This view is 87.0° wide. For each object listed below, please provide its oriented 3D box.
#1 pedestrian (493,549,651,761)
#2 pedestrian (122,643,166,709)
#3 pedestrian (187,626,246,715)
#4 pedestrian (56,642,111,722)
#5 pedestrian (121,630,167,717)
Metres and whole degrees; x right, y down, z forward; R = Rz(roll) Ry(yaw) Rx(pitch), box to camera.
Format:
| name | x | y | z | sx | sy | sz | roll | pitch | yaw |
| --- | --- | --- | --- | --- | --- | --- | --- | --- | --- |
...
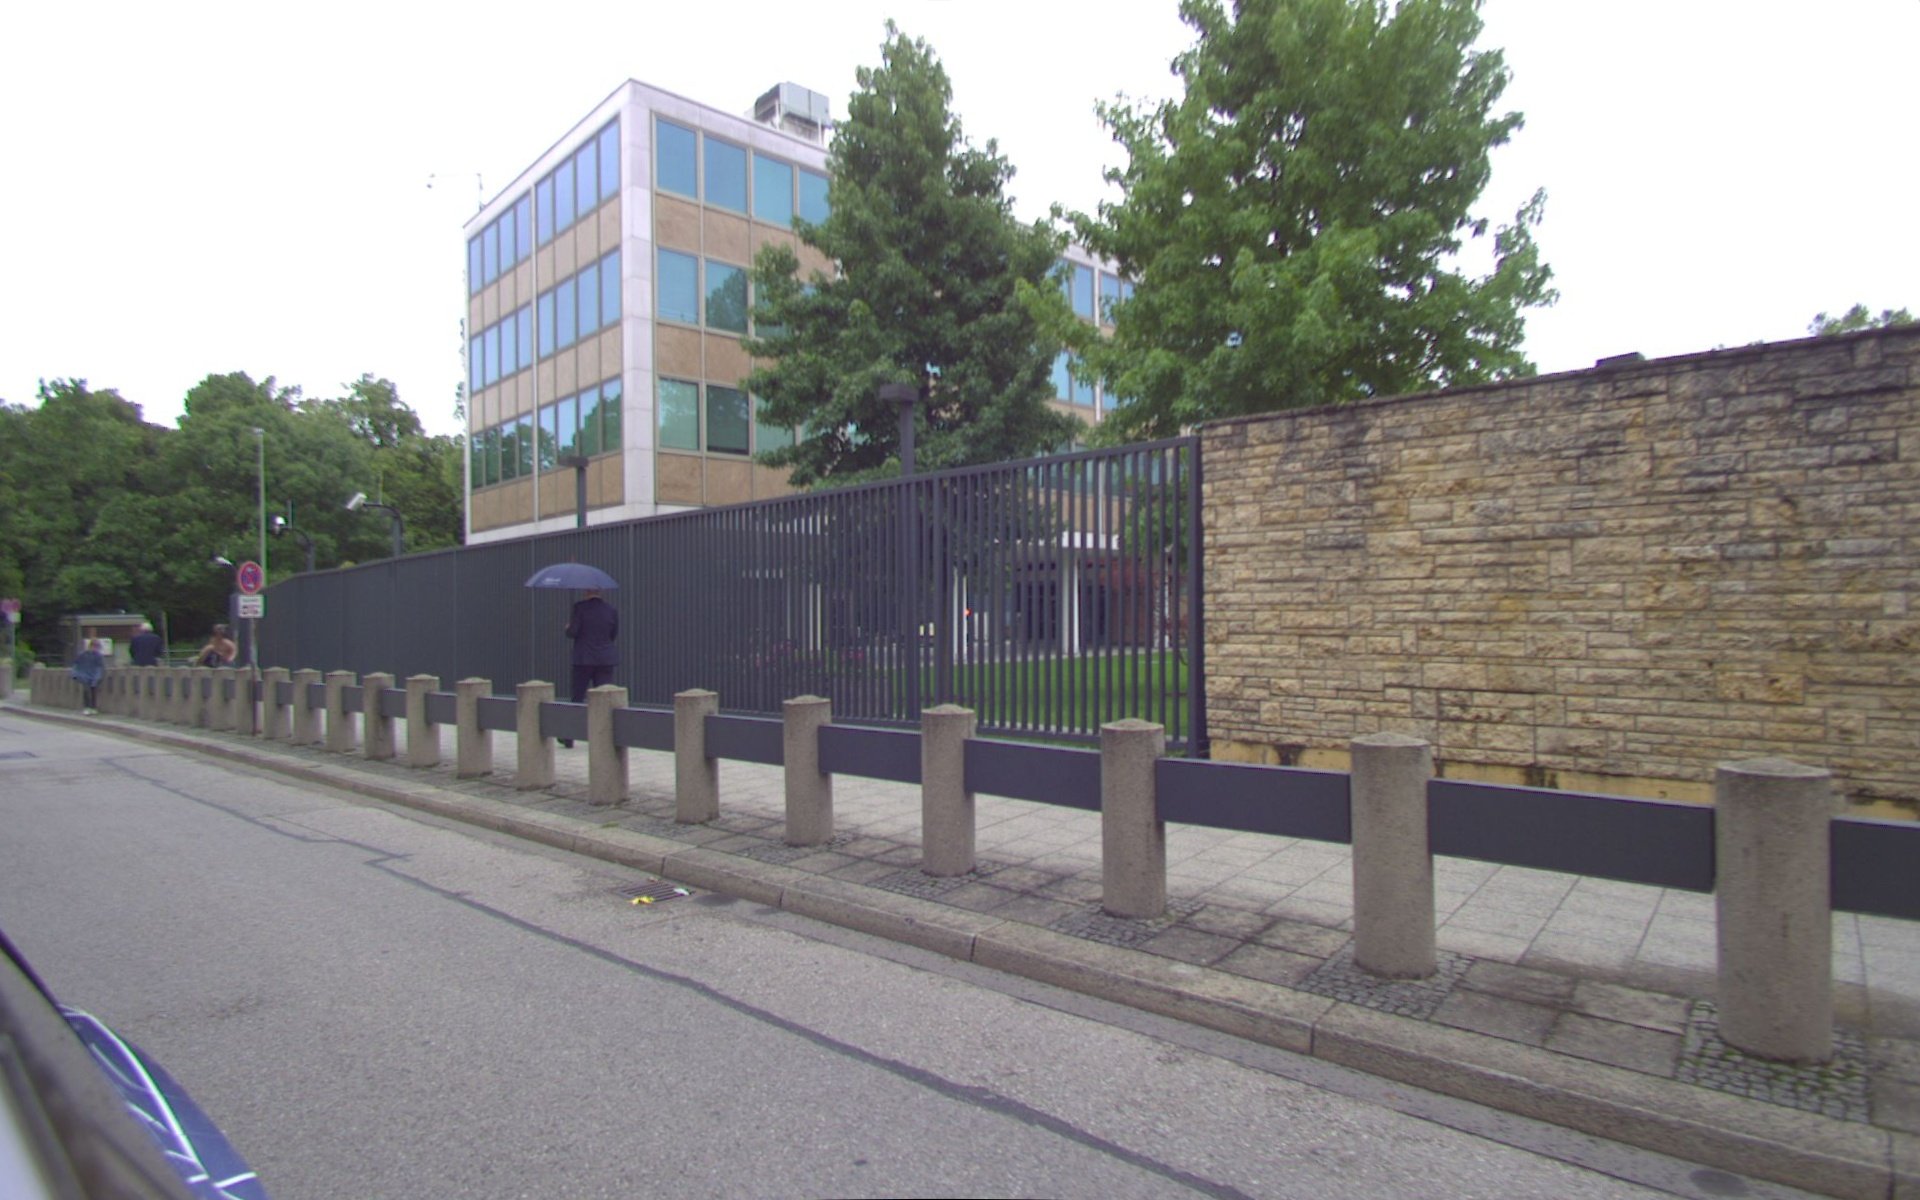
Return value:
| name | x | y | z | sx | sy | sz | roll | pitch | yaw |
| --- | --- | --- | --- | --- | --- | --- | --- | --- | --- |
| pedestrian | -4.196 | 0.572 | 10.955 | 1.116 | 2.120 | 1.210 | -3 | -2 | 43 |
| pedestrian | -20.297 | 1.866 | 25.163 | 0.768 | 1.551 | 0.934 | -2 | 0 | -42 |
| pedestrian | -15.375 | 1.438 | 20.921 | 0.814 | 1.736 | 0.906 | -2 | 0 | -44 |
| pedestrian | -17.155 | 1.580 | 19.807 | 1.078 | 1.478 | 0.632 | -3 | 0 | 41 |
| pedestrian | -17.253 | 1.535 | 21.398 | 0.766 | 1.782 | 0.617 | -3 | -2 | 40 |
